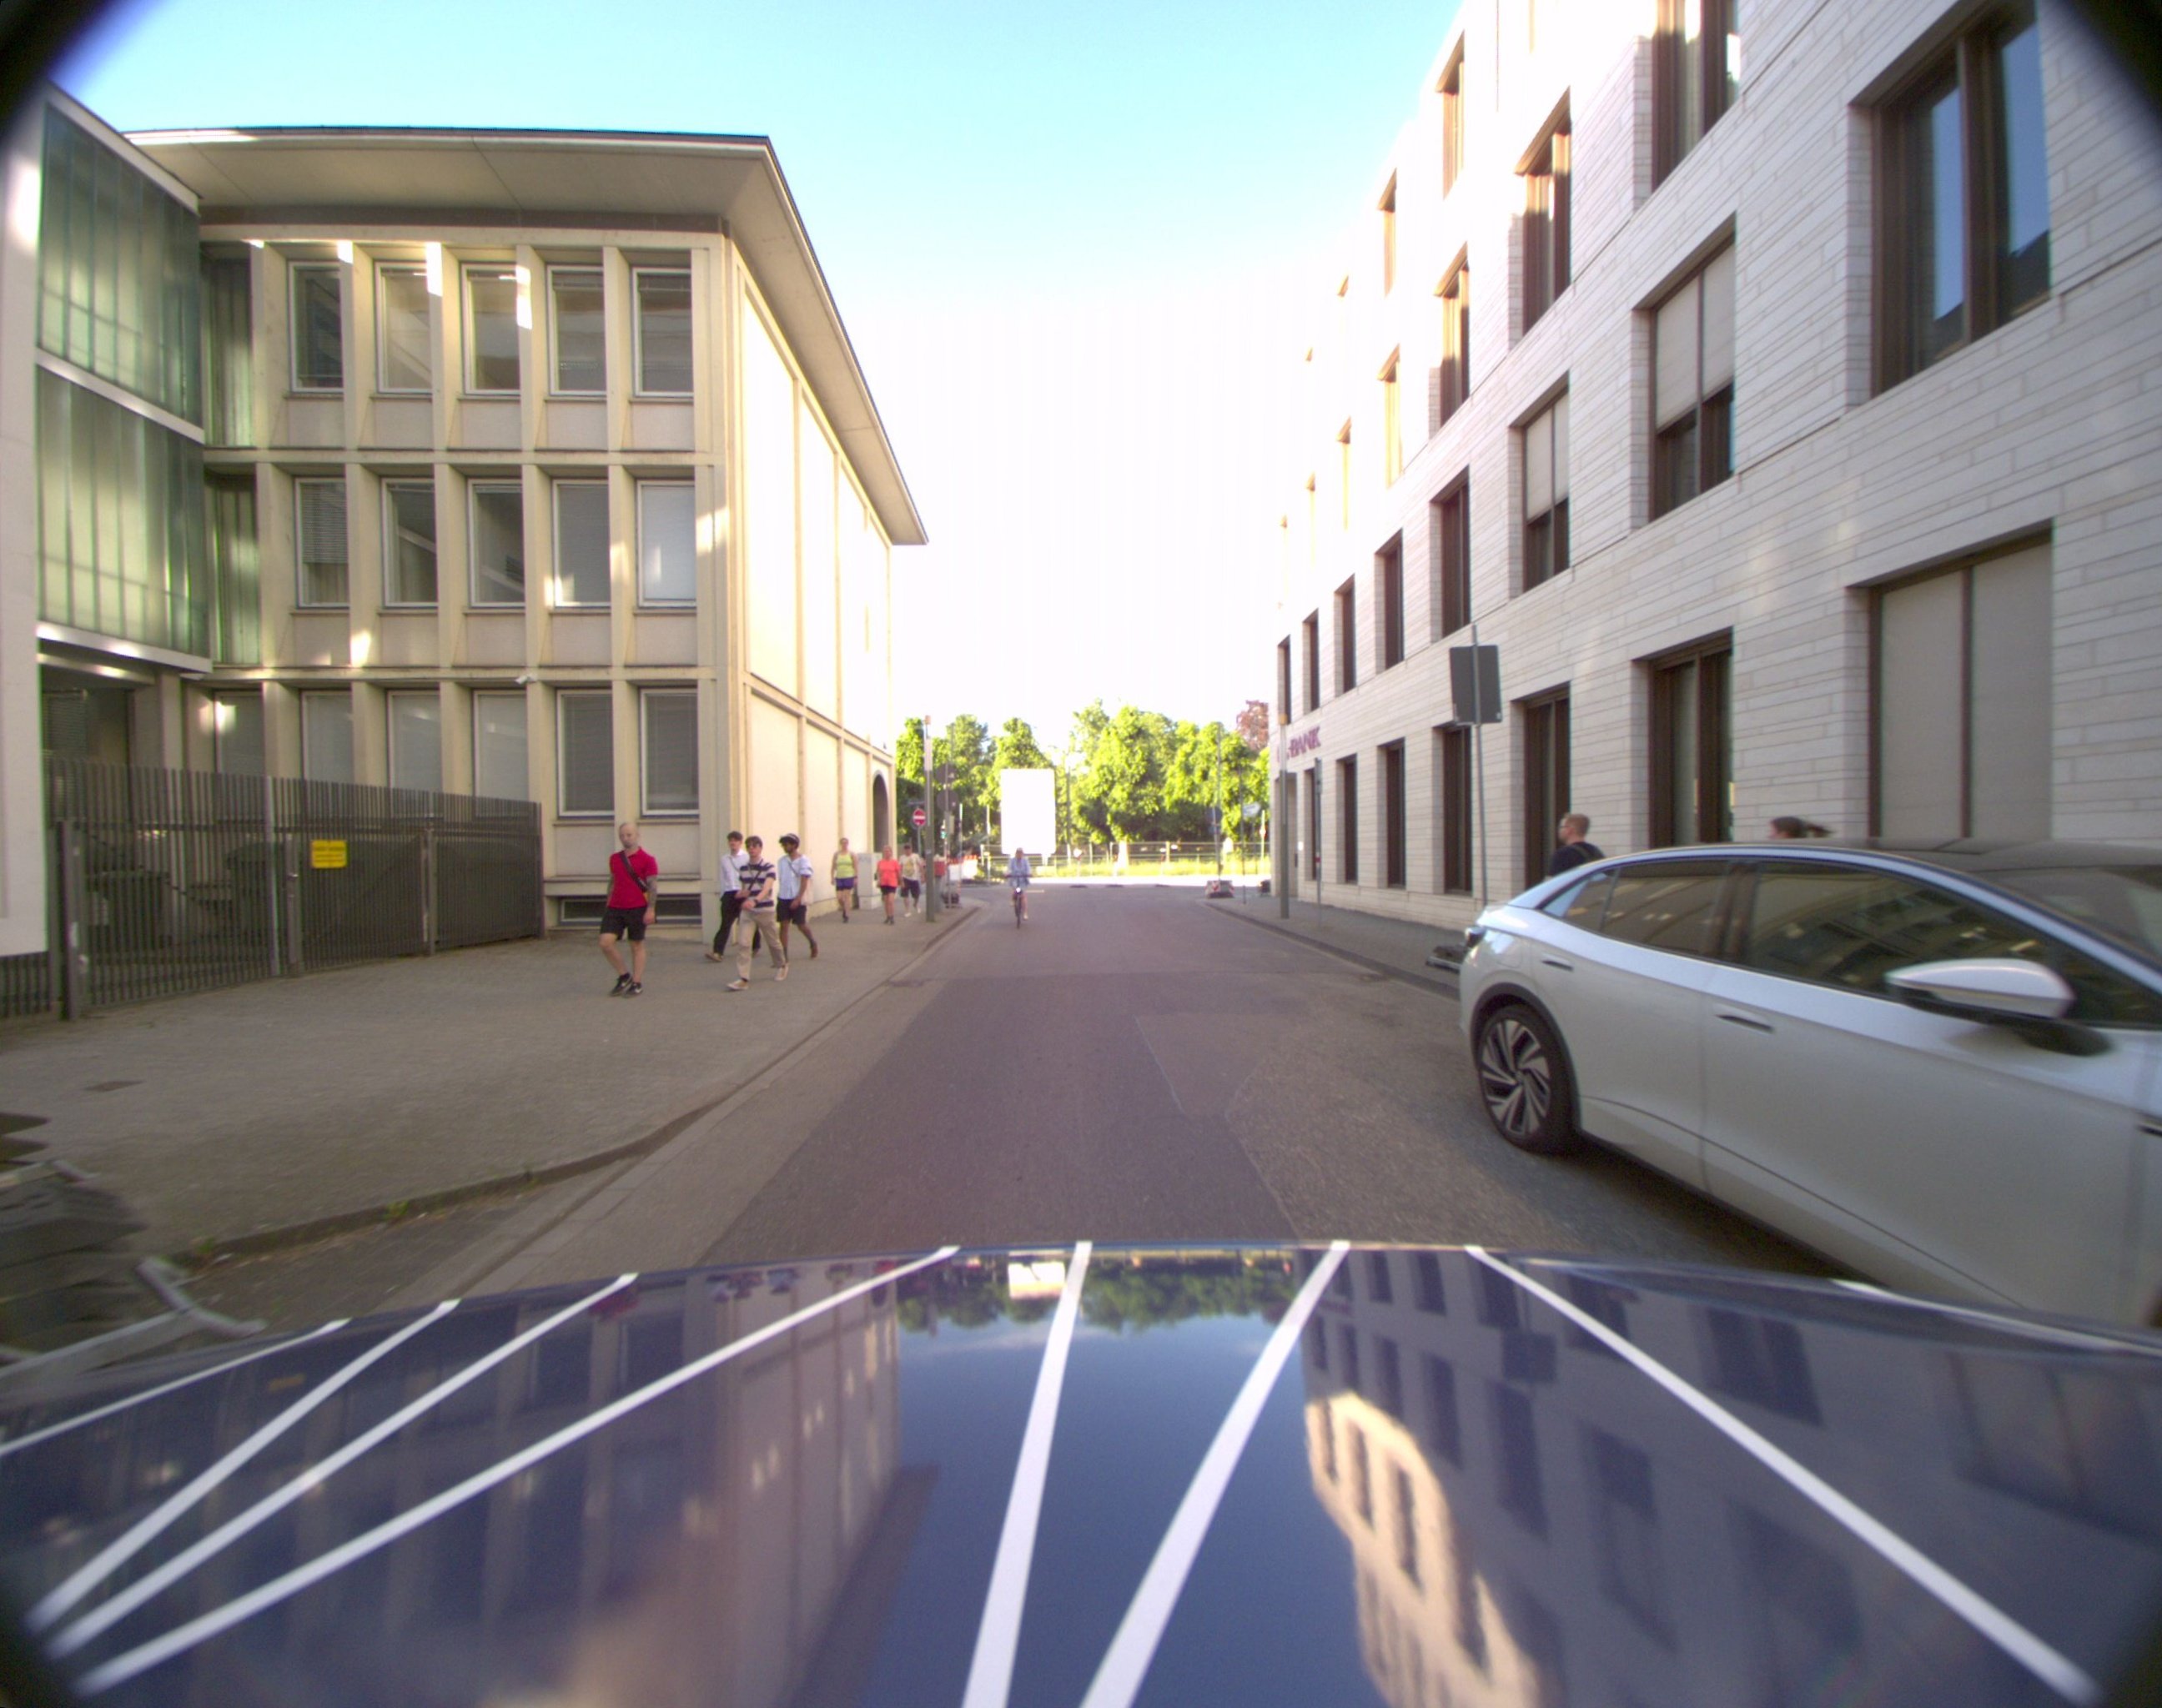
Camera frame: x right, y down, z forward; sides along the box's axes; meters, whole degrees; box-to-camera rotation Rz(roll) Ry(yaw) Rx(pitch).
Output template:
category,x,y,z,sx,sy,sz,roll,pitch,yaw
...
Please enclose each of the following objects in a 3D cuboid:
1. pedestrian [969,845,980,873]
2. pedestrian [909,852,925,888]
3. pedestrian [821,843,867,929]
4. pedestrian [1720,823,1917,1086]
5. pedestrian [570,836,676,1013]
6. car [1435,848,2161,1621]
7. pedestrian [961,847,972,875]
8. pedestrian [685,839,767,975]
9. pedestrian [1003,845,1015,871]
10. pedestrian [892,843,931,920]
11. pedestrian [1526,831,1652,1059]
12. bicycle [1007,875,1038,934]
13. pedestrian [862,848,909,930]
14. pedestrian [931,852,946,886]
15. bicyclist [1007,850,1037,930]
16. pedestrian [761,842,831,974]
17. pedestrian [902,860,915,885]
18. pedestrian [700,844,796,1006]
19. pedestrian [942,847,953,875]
category,x,y,z,sx,sy,sz,roll,pitch,yaw
pedestrian,-6.892,0.322,49.169,0.626,1.773,0.622,-2,2,-7
pedestrian,-7.674,0.753,35.518,0.626,1.633,0.622,-2,2,-7
pedestrian,-4.855,0.636,15.594,0.685,1.706,0.693,2,1,0
pedestrian,5.360,0.680,5.580,0.645,1.780,0.816,-2,2,-1
pedestrian,-4.804,0.713,8.002,0.685,1.768,0.593,3,1,0
car,3.112,0.788,2.360,1.827,1.532,4.446,-3,0,-1
pedestrian,-7.503,0.434,49.750,0.626,1.773,0.622,-2,2,-7
pedestrian,-4.911,0.711,10.548,0.685,1.768,0.693,5,1,0
pedestrian,-4.996,0.245,52.742,0.622,1.773,0.627,-1,2,14
pedestrian,-3.868,0.620,17.395,0.685,1.706,0.693,2,1,0
pedestrian,4.151,0.711,6.239,0.643,1.780,0.575,-2,2,-1
bicycle,-1.255,1.050,16.452,0.595,1.077,2.309,-2,1,-4
pedestrian,-4.001,0.704,15.616,0.685,1.627,0.693,4,1,0
pedestrian,-6.858,0.726,36.652,0.626,1.604,0.622,-2,2,-7
bicyclist,-1.283,0.772,16.603,0.586,1.679,0.538,-2,2,-4
pedestrian,-3.988,0.733,10.668,0.685,1.768,0.693,1,1,0
pedestrian,-8.229,0.887,36.251,0.535,1.170,0.622,-2,2,-7
pedestrian,-3.883,0.799,8.903,0.685,1.768,0.693,5,1,0
pedestrian,-8.730,0.435,49.792,0.626,1.773,0.622,-2,2,-7
